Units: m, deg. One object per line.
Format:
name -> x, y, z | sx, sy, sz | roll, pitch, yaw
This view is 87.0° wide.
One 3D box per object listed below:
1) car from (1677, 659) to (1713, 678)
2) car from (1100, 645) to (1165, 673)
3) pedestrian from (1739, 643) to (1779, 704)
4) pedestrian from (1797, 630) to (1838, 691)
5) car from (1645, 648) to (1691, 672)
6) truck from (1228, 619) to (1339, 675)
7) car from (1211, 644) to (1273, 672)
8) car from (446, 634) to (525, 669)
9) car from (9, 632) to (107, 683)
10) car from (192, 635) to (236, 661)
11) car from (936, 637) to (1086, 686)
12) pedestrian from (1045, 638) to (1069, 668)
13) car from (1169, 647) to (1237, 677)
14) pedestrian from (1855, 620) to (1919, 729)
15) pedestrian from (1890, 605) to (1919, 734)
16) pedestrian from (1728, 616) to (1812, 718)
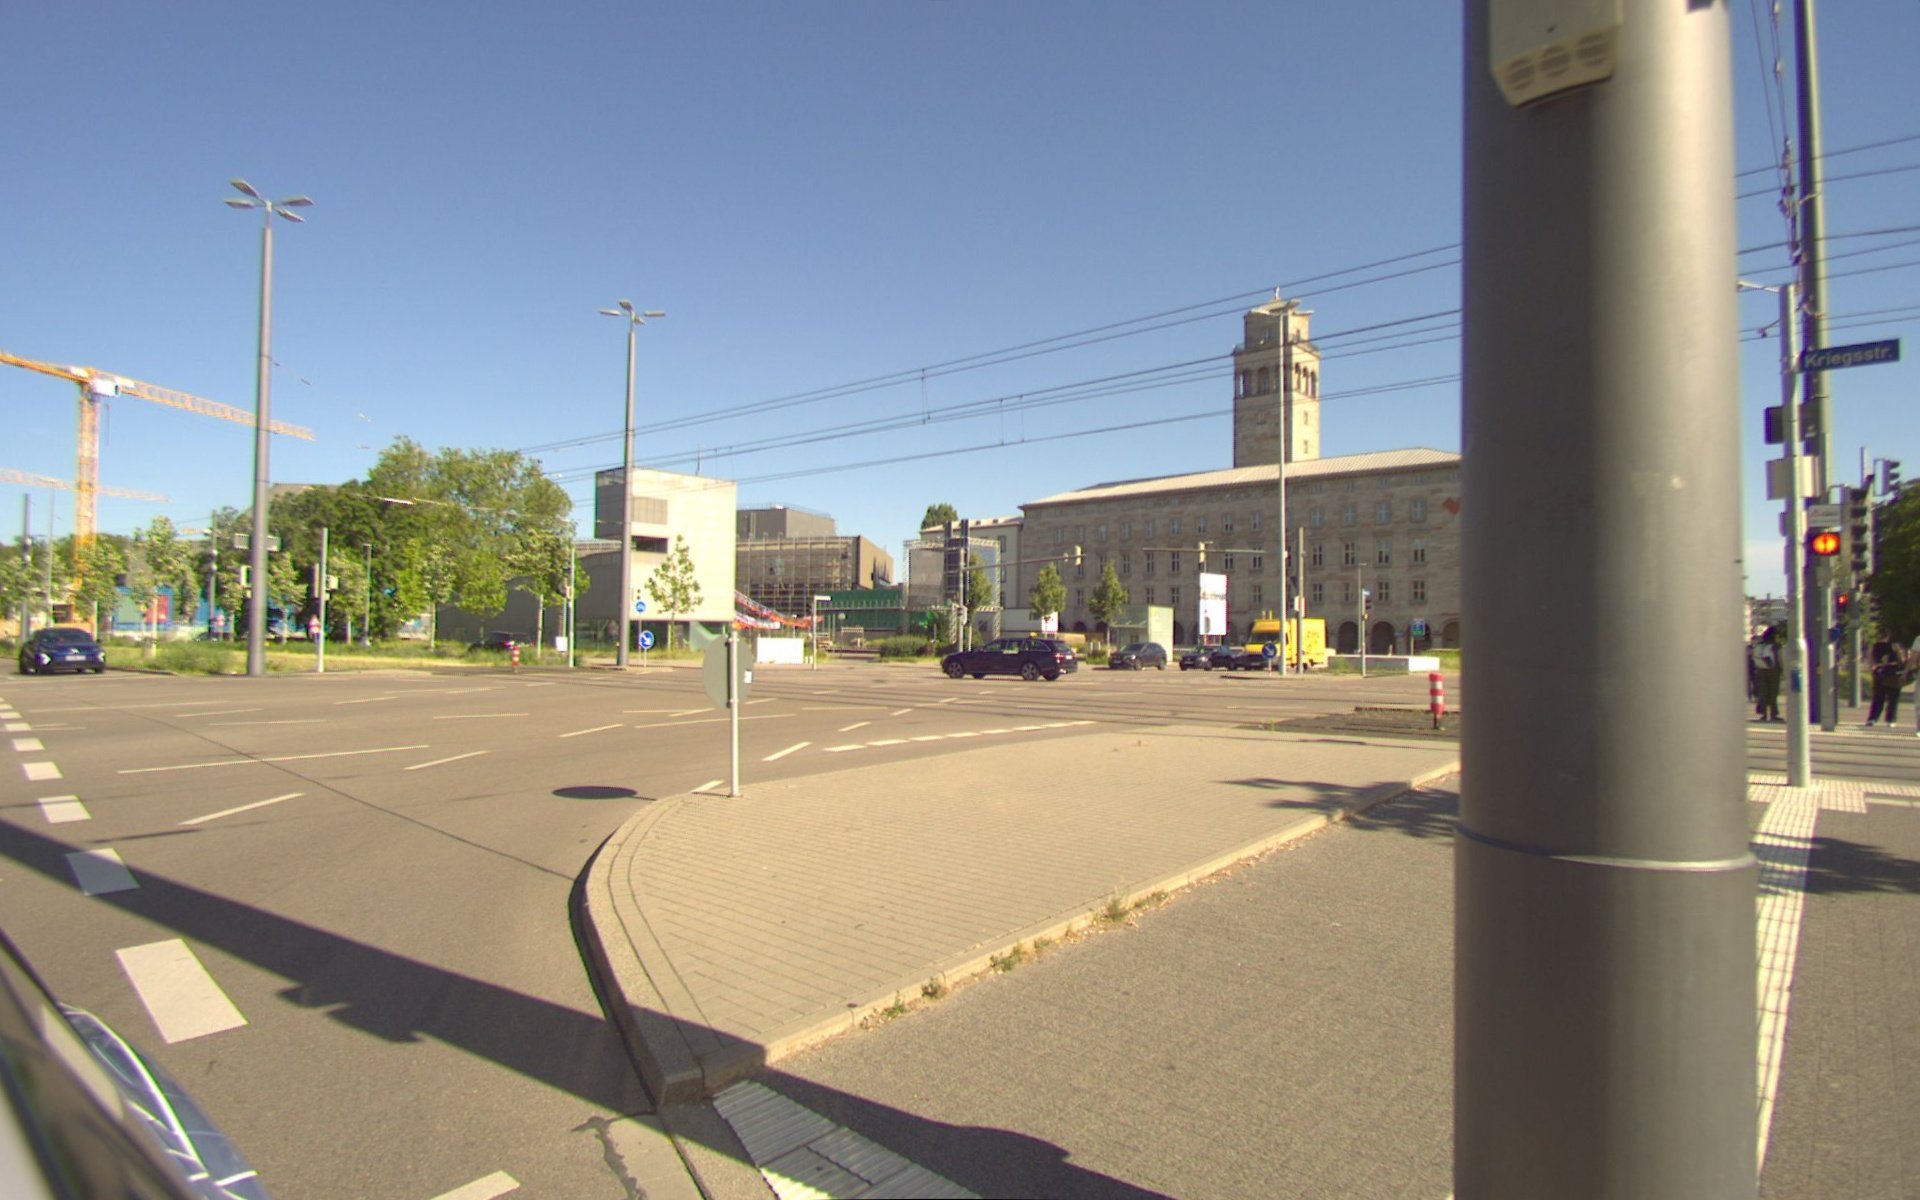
car -> 64.823, 6.013, 89.284 | 2.001, 1.614, 3.942 | -2, -3, 44
car -> 10.194, 3.456, 59.578 | 1.904, 1.551, 3.942 | -2, -3, 44
pedestrian -> 24.087, 2.206, 30.512 | 0.587, 1.837, 0.700 | 0, -3, 2
pedestrian -> 26.133, 1.829, 30.839 | 0.587, 1.837, 0.700 | 0, -3, 2
car -> 49.200, 4.124, 70.277 | 2.001, 1.614, 3.942 | -2, -3, 44
truck -> 17.628, 2.521, 54.820 | 2.464, 2.814, 7.917 | -2, -3, 44
car -> 16.777, 3.423, 60.211 | 1.904, 1.551, 3.942 | -2, -3, 44
car -> -24.872, 2.666, 52.997 | 4.556, 1.720, 1.973 | -2, -3, 40
car -> -30.895, 1.933, 34.626 | 4.081, 1.600, 1.754 | -2, -1, 37
car -> -59.348, 3.813, 80.501 | 3.996, 1.970, 1.852 | -2, -3, 39
car -> 1.749, 2.072, 34.929 | 4.809, 1.573, 1.980 | -1, -3, 29
pedestrian -> 5.764, 3.147, 60.000 | 0.944, 1.699, 1.183 | -3, -3, 32
car -> 13.484, 3.399, 56.101 | 1.904, 1.551, 3.942 | -2, -3, 44
pedestrian -> 16.176, 1.273, 17.456 | 0.974, 1.837, 0.792 | -2, -3, 37
pedestrian -> 14.190, 1.003, 14.616 | 0.974, 1.837, 0.792 | -2, -3, 37
pedestrian -> 15.023, 1.223, 18.783 | 0.788, 1.837, 0.884 | 1, -3, -19
